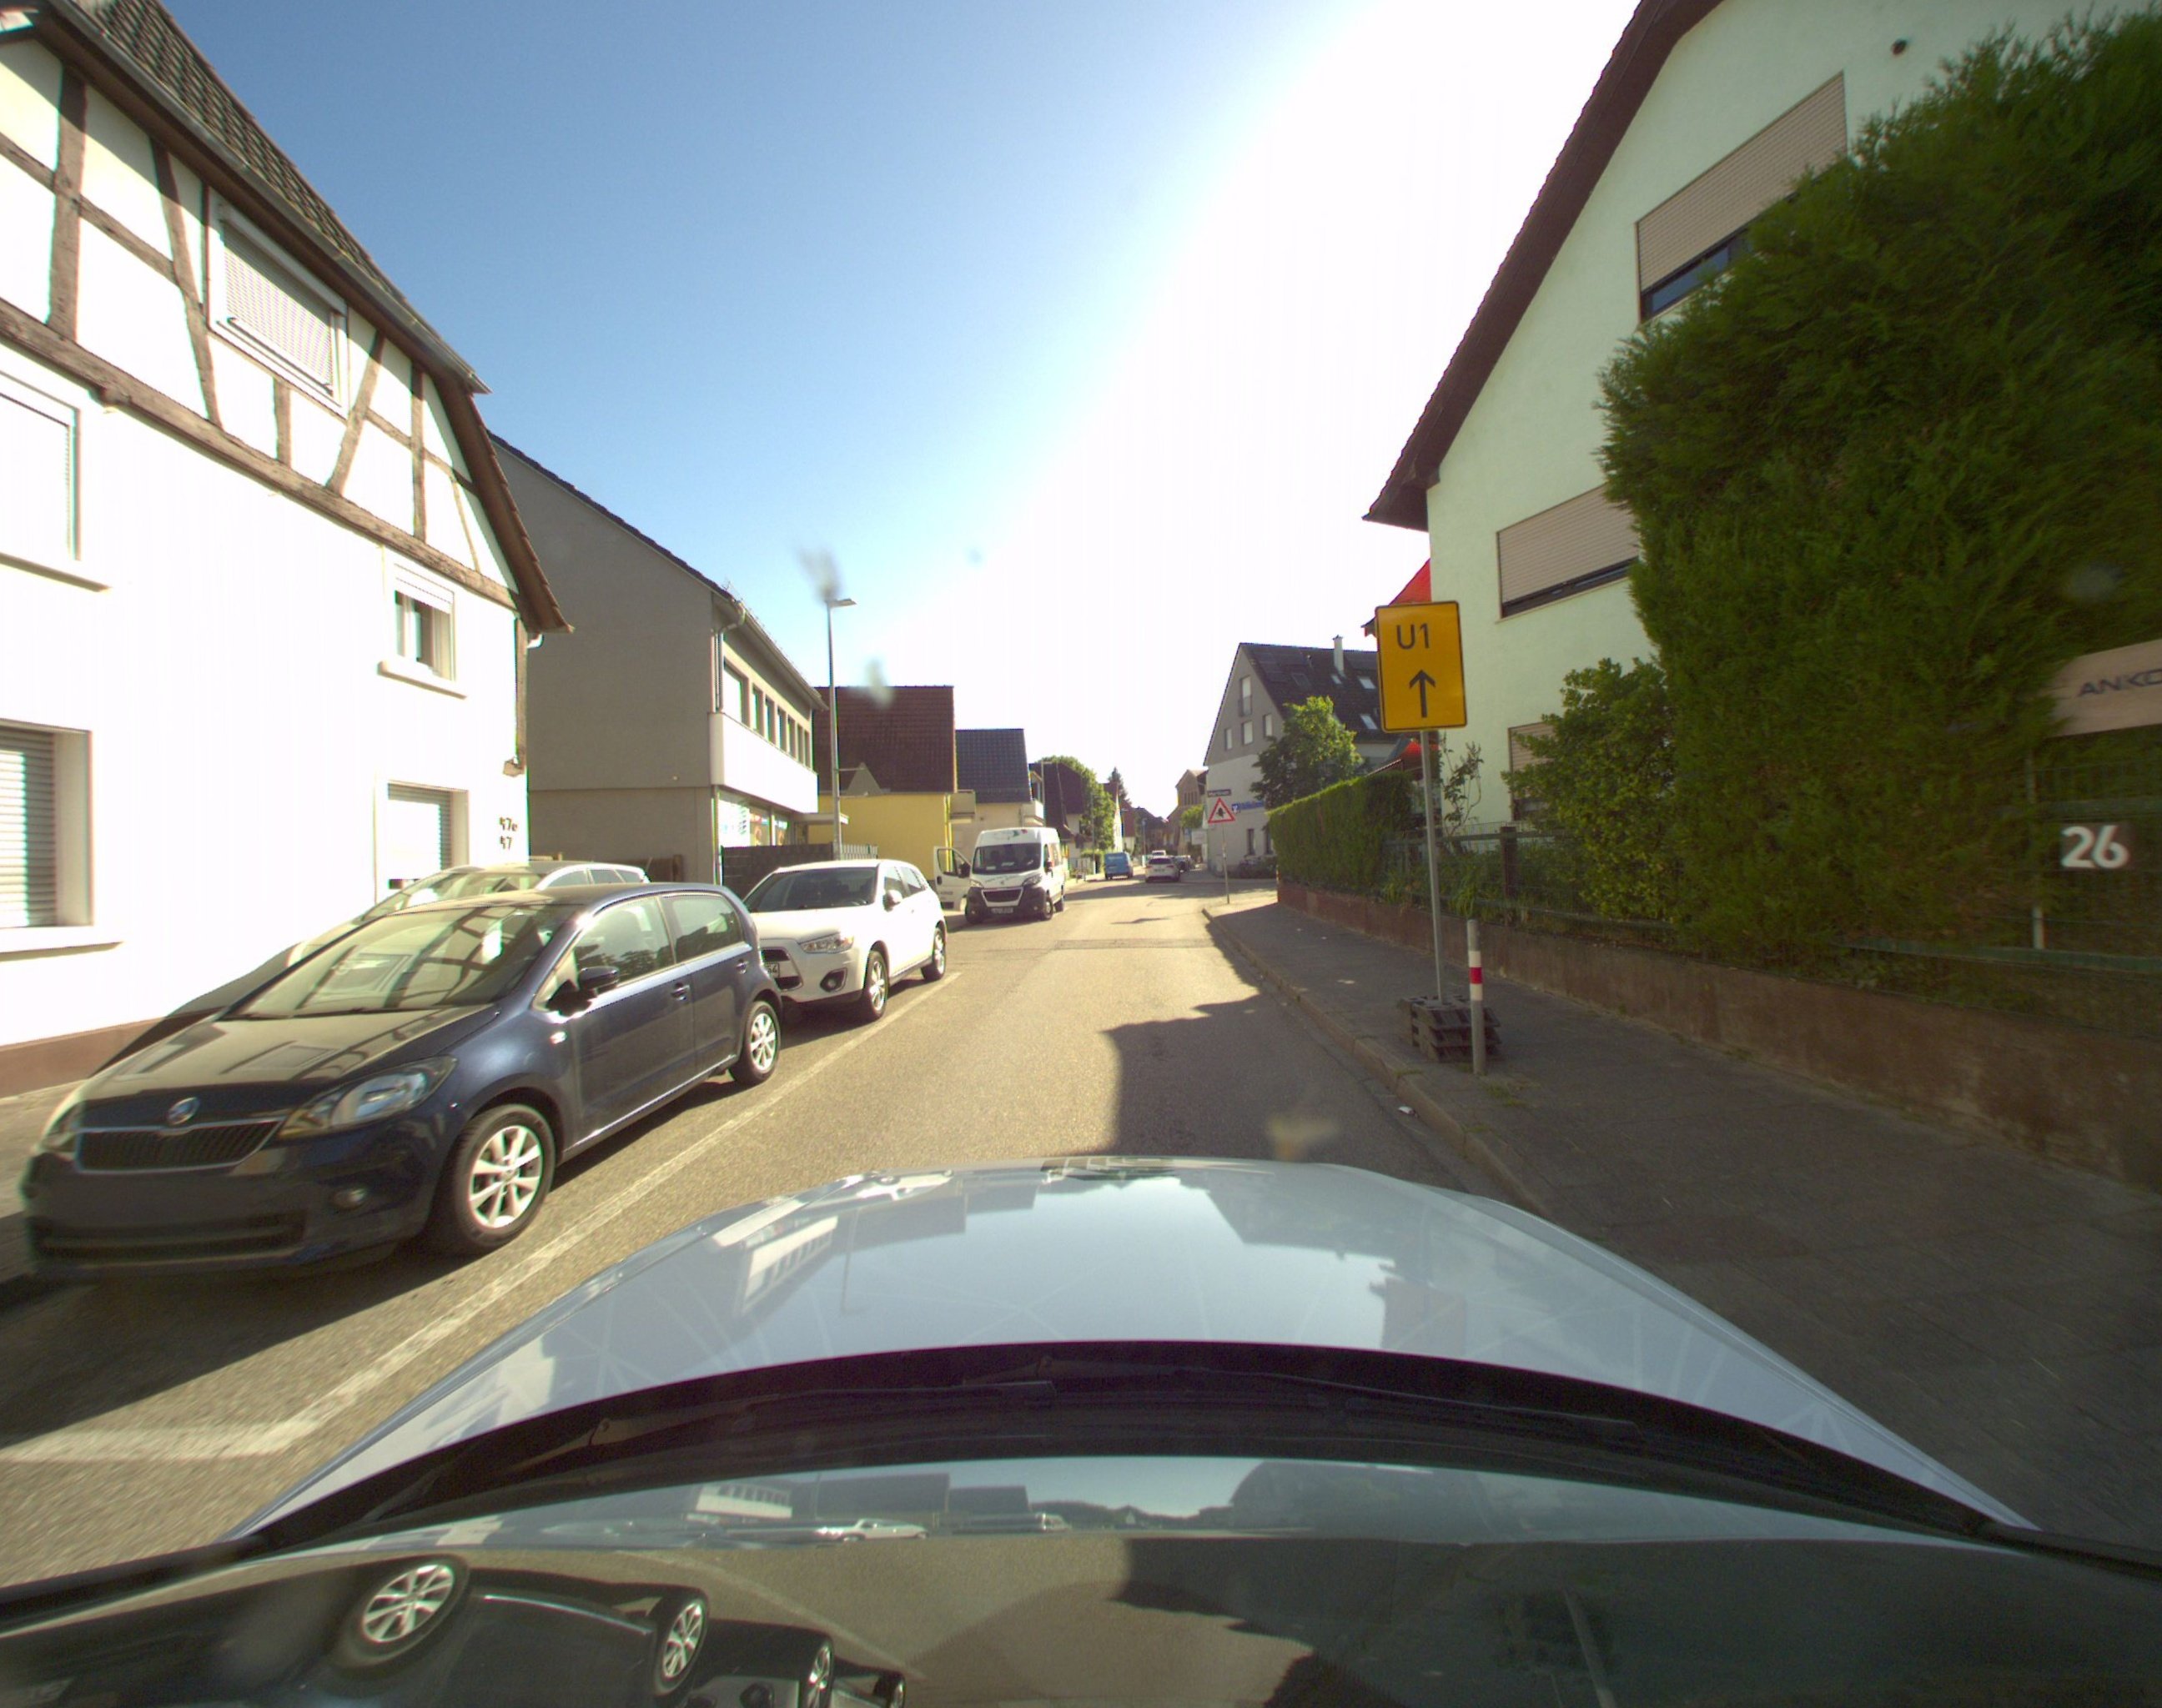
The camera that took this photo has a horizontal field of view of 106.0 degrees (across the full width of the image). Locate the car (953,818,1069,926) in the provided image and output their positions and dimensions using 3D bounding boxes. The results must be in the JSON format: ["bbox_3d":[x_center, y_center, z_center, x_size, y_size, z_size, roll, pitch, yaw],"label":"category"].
[{"bbox_3d":[-1.740,0.430,22.473,2.242,2.470,5.522,-3,0,4],"label":"car"}]

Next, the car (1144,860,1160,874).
[{"bbox_3d":[9.212,1.646,105.436,1.704,1.598,3.935,-4,0,9],"label":"car"}]

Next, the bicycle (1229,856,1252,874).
[{"bbox_3d":[9.446,0.652,48.245,1.212,0.975,0.322,-3,0,20],"label":"bicycle"}]

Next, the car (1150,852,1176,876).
[{"bbox_3d":[5.376,0.635,53.524,1.602,1.521,3.978,-1,0,6],"label":"car"}]

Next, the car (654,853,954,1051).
[{"bbox_3d":[-2.734,0.854,9.138,1.715,1.618,4.115,-3,0,3],"label":"car"}]

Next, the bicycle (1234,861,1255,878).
[{"bbox_3d":[9.568,0.908,47.640,1.154,0.920,0.314,-3,0,14],"label":"bicycle"}]

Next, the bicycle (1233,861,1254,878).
[{"bbox_3d":[9.418,0.919,47.271,1.154,0.920,0.314,-3,0,14],"label":"bicycle"}]

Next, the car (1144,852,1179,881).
[{"bbox_3d":[4.758,0.700,47.543,1.836,1.514,4.515,-3,0,7],"label":"car"}]

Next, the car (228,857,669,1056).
[{"bbox_3d":[-6.323,0.859,8.872,1.638,1.587,4.109,-2,0,-2],"label":"car"}]

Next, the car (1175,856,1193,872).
[{"bbox_3d":[10.751,1.033,84.865,1.801,1.475,4.670,-2,0,8],"label":"car"}]

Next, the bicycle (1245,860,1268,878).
[{"bbox_3d":[9.853,0.847,45.679,1.157,0.920,0.313,-3,0,4],"label":"bicycle"}]

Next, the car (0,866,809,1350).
[{"bbox_3d":[-3.094,0.902,4.607,1.649,1.507,3.686,-3,0,3],"label":"car"}]

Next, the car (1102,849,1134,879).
[{"bbox_3d":[2.750,0.670,58.741,1.893,1.917,5.078,-4,0,6],"label":"car"}]
